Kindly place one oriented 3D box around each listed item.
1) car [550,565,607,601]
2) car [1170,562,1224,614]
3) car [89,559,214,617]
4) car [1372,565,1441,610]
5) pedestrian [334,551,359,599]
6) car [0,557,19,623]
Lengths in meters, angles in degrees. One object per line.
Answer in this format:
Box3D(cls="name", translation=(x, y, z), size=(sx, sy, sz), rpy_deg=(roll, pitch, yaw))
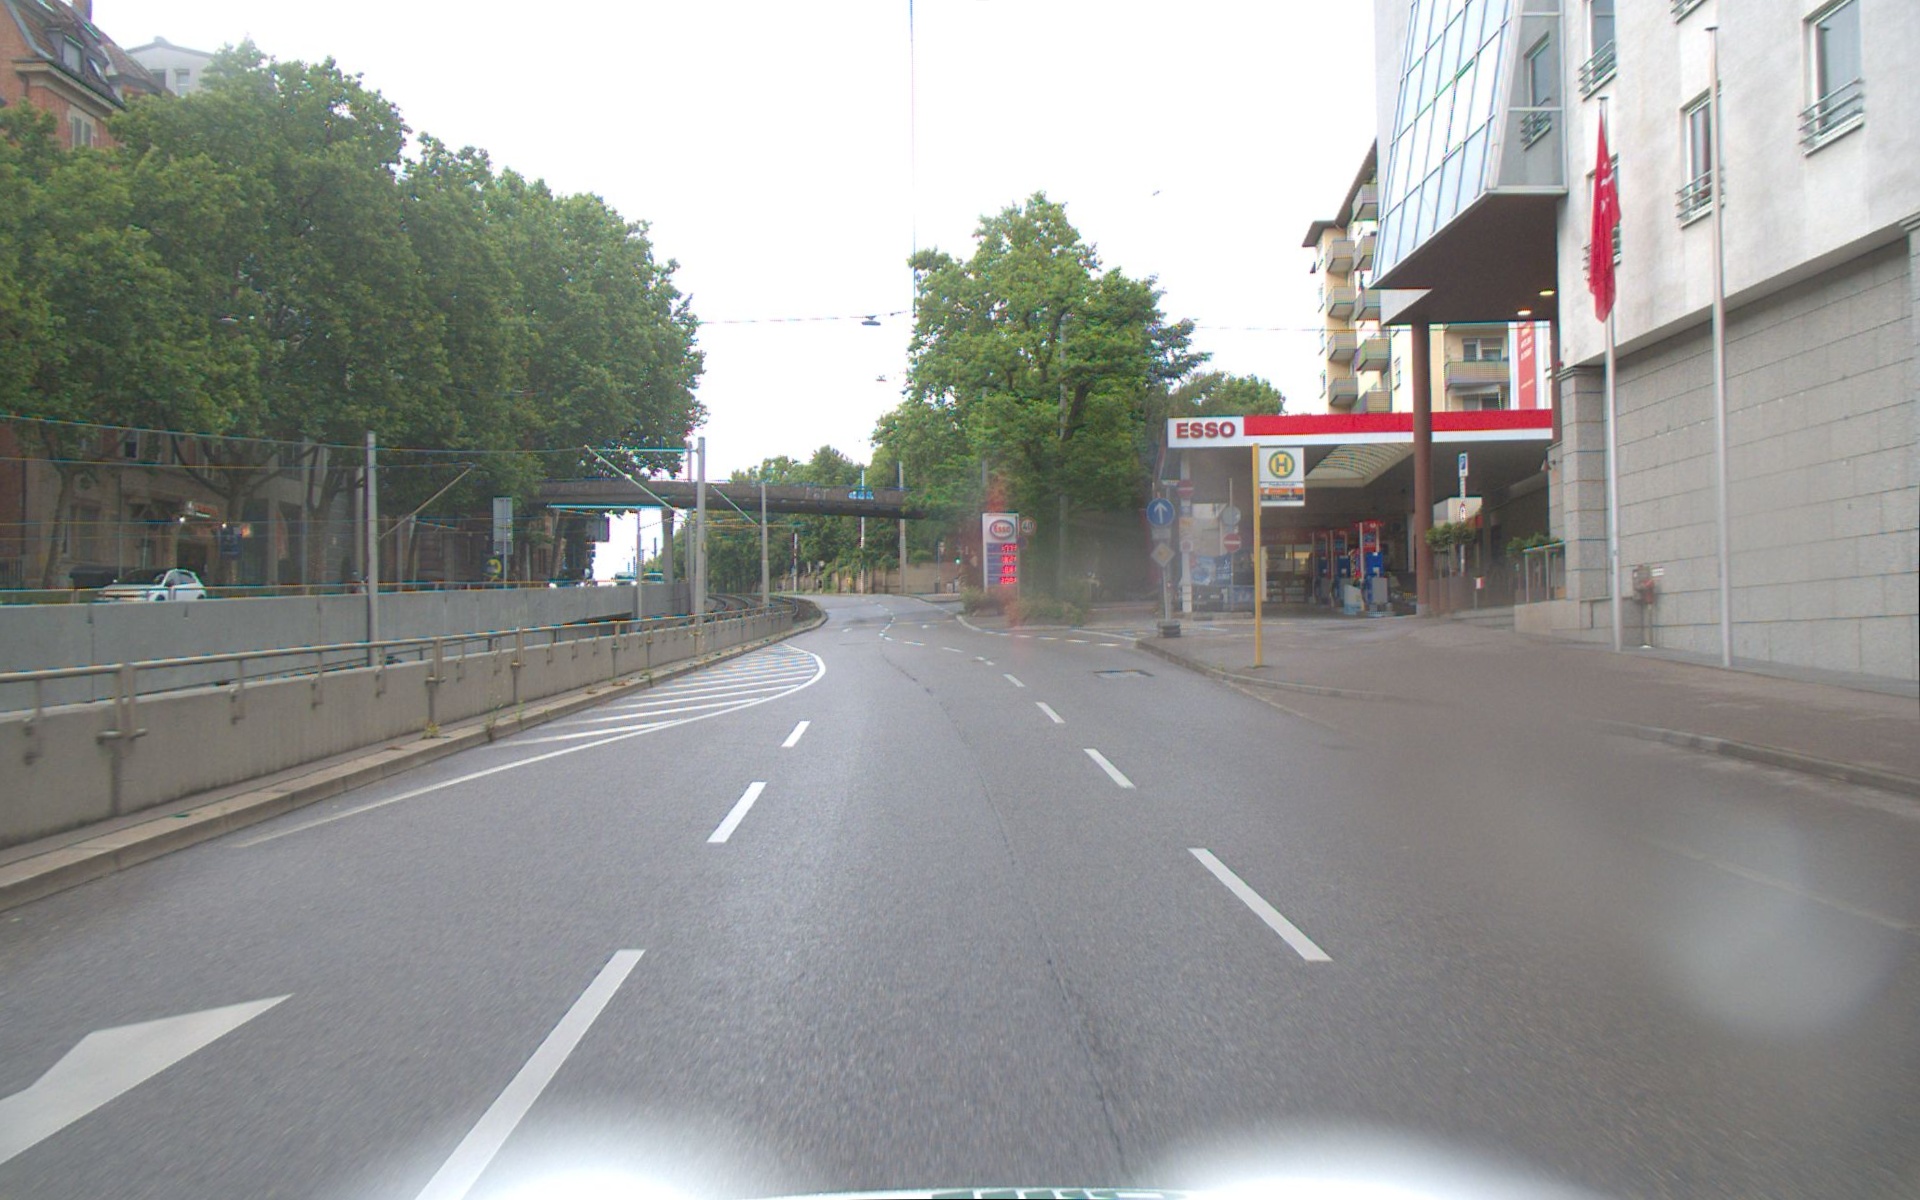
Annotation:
Box3D(cls="car", translation=(-21.094, -0.959, 91.553), size=(1.916, 1.885, 4.969), rpy_deg=(1, 1, 1))
Box3D(cls="car", translation=(8.230, -0.407, 57.649), size=(1.735, 1.652, 3.869), rpy_deg=(-3, 0, 8))
Box3D(cls="car", translation=(-24.376, -0.375, 50.022), size=(1.758, 1.639, 4.112), rpy_deg=(1, 1, -1))
Box3D(cls="car", translation=(16.397, -0.439, 60.916), size=(1.756, 1.537, 4.002), rpy_deg=(1, -1, 5))
Box3D(cls="pedestrian", translation=(-26.826, -1.075, 72.306), size=(0.655, 2.049, 0.935), rpy_deg=(1, -1, 2))
Box3D(cls="car", translation=(-24.675, -0.235, 39.070), size=(1.887, 1.629, 5.199), rpy_deg=(1, 1, 0))
